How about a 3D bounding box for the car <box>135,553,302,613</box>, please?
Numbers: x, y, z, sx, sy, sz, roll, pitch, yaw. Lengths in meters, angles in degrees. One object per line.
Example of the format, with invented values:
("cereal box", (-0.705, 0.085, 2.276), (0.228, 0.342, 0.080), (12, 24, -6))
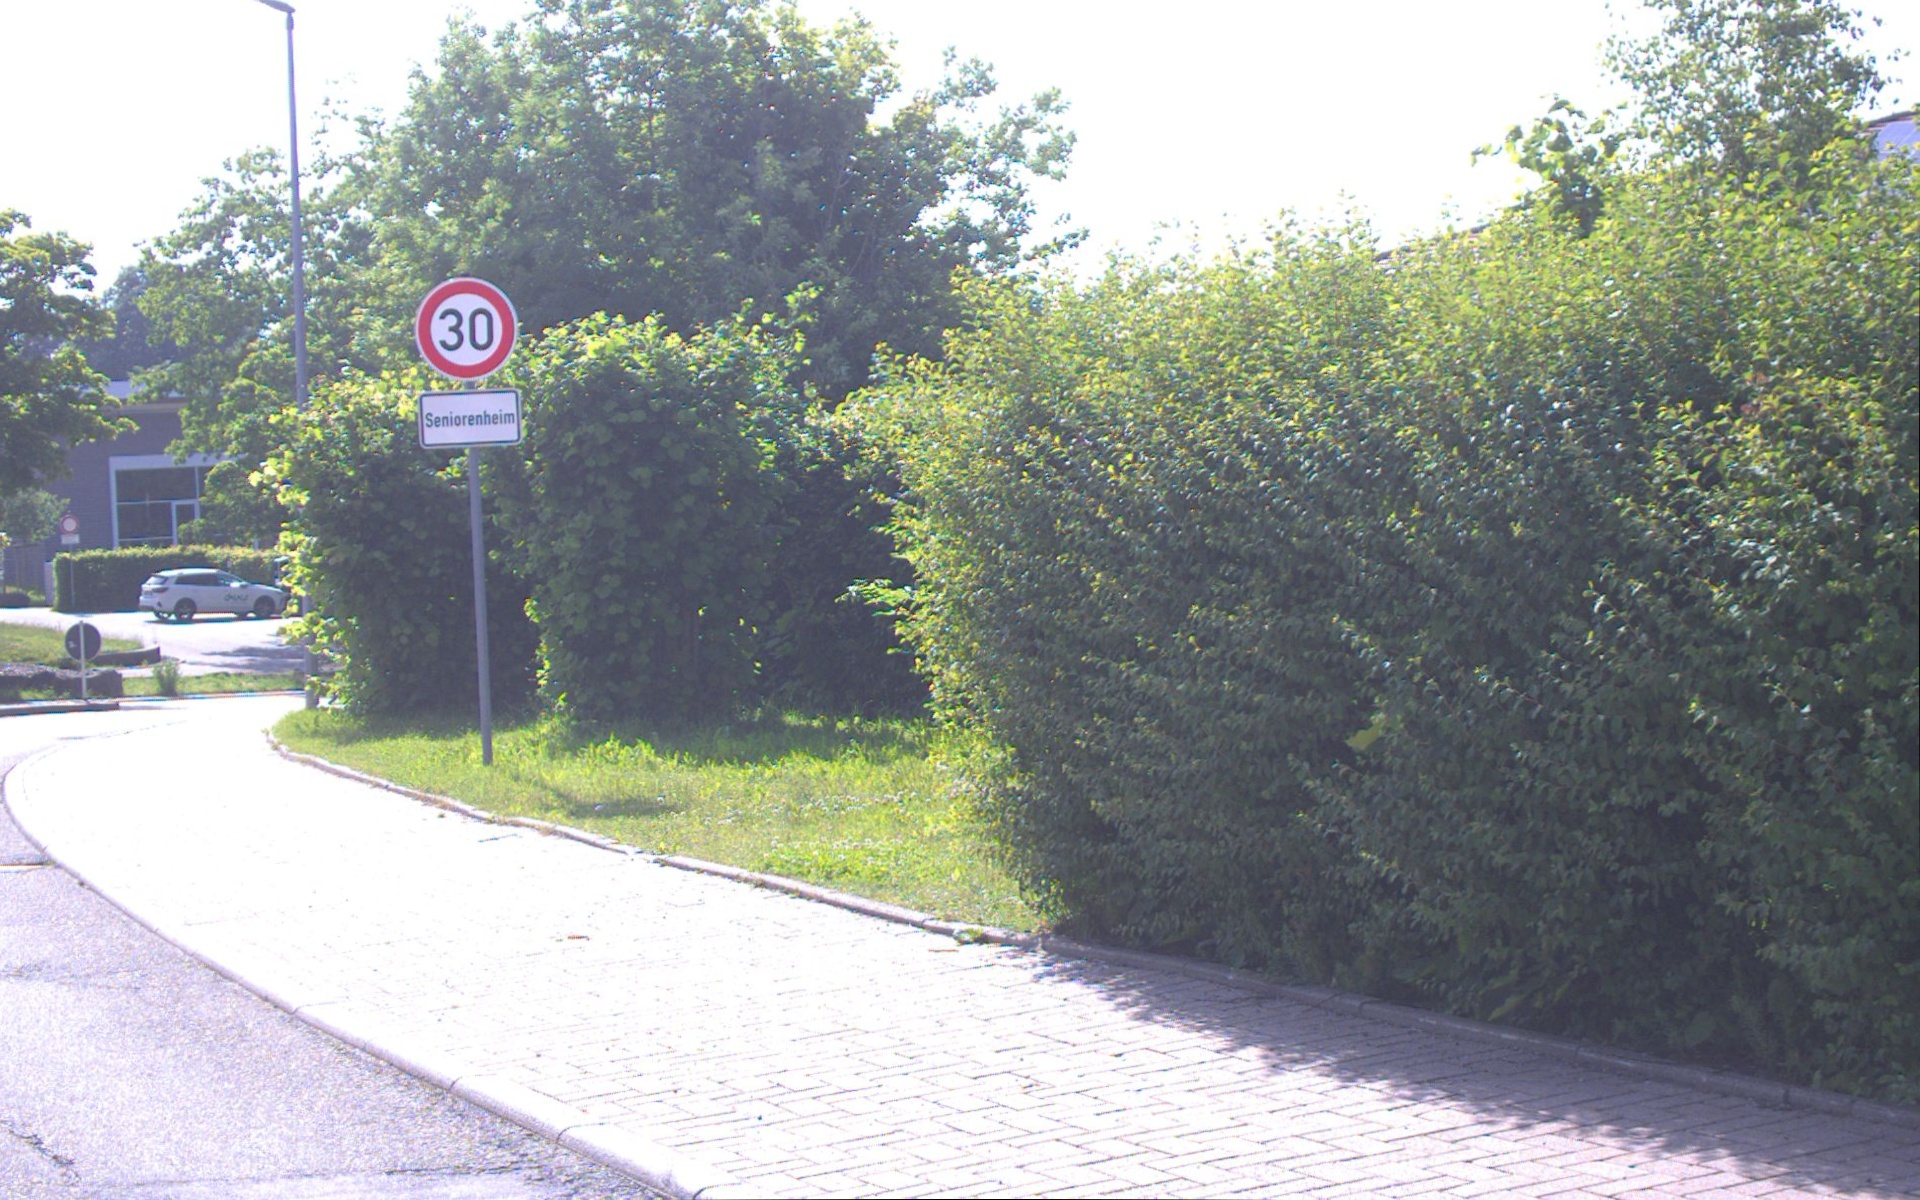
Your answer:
("car", (-23.334, -0.562, 108.228), (4.716, 1.528, 2.000), (-4, 6, -36))
